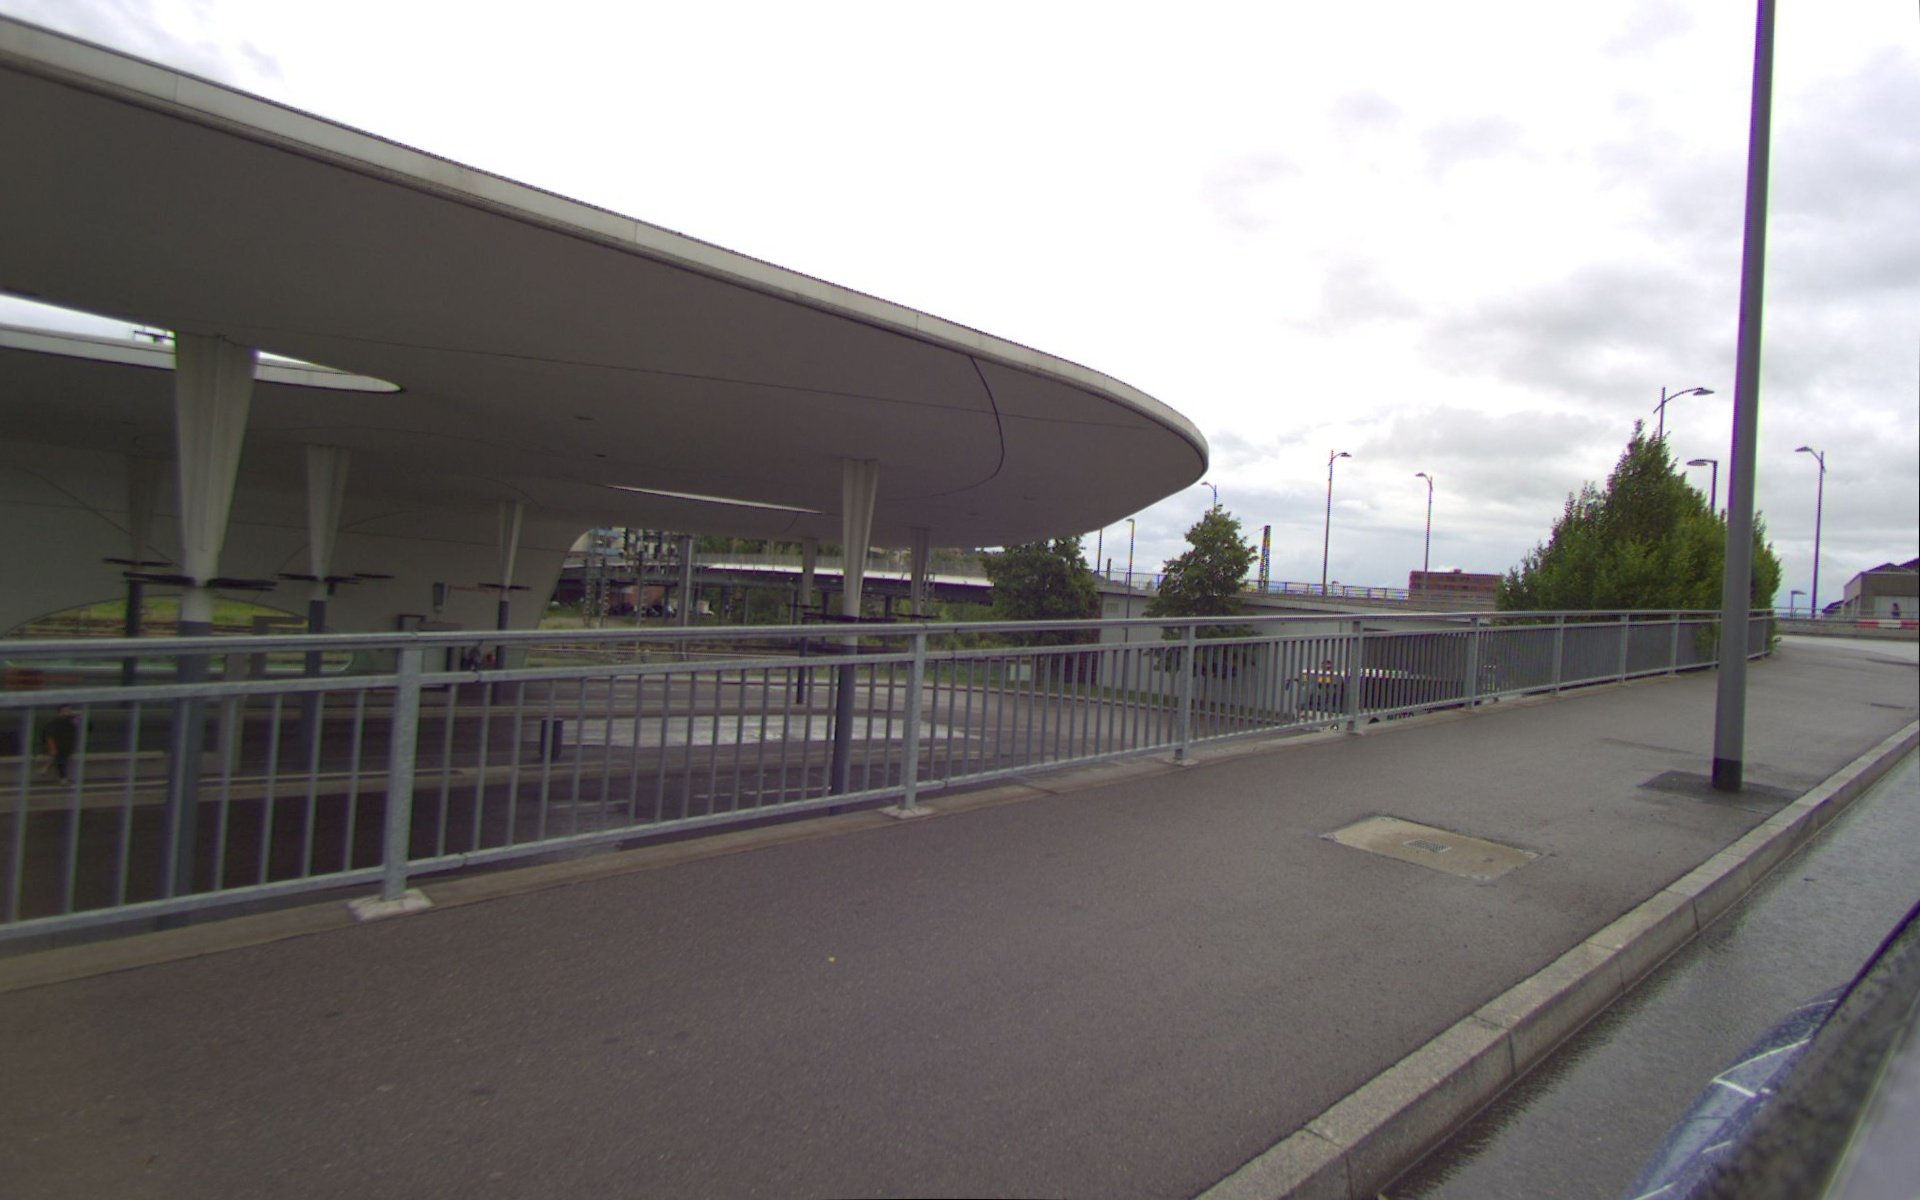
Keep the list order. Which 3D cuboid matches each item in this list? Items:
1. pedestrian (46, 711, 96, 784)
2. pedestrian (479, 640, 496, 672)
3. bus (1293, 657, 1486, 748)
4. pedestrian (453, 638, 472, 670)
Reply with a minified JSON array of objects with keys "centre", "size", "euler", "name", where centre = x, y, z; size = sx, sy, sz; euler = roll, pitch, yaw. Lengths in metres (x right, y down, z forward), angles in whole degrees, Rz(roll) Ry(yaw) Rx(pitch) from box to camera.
[{"centre":[-16.031,2.643,18.248],"size":[0.659,1.178,0.535],"euler":[0,0,-44],"name":"pedestrian"},{"centre":[-19.665,2.331,42.127],"size":[0.536,1.296,0.568],"euler":[0,0,-38],"name":"pedestrian"},{"centre":[20.813,4.715,48.510],"size":[11.913,3.298,2.797],"euler":[-1,0,-36],"name":"bus"},{"centre":[-20.434,2.211,41.571],"size":[0.575,1.286,0.568],"euler":[0,0,-38],"name":"pedestrian"}]
